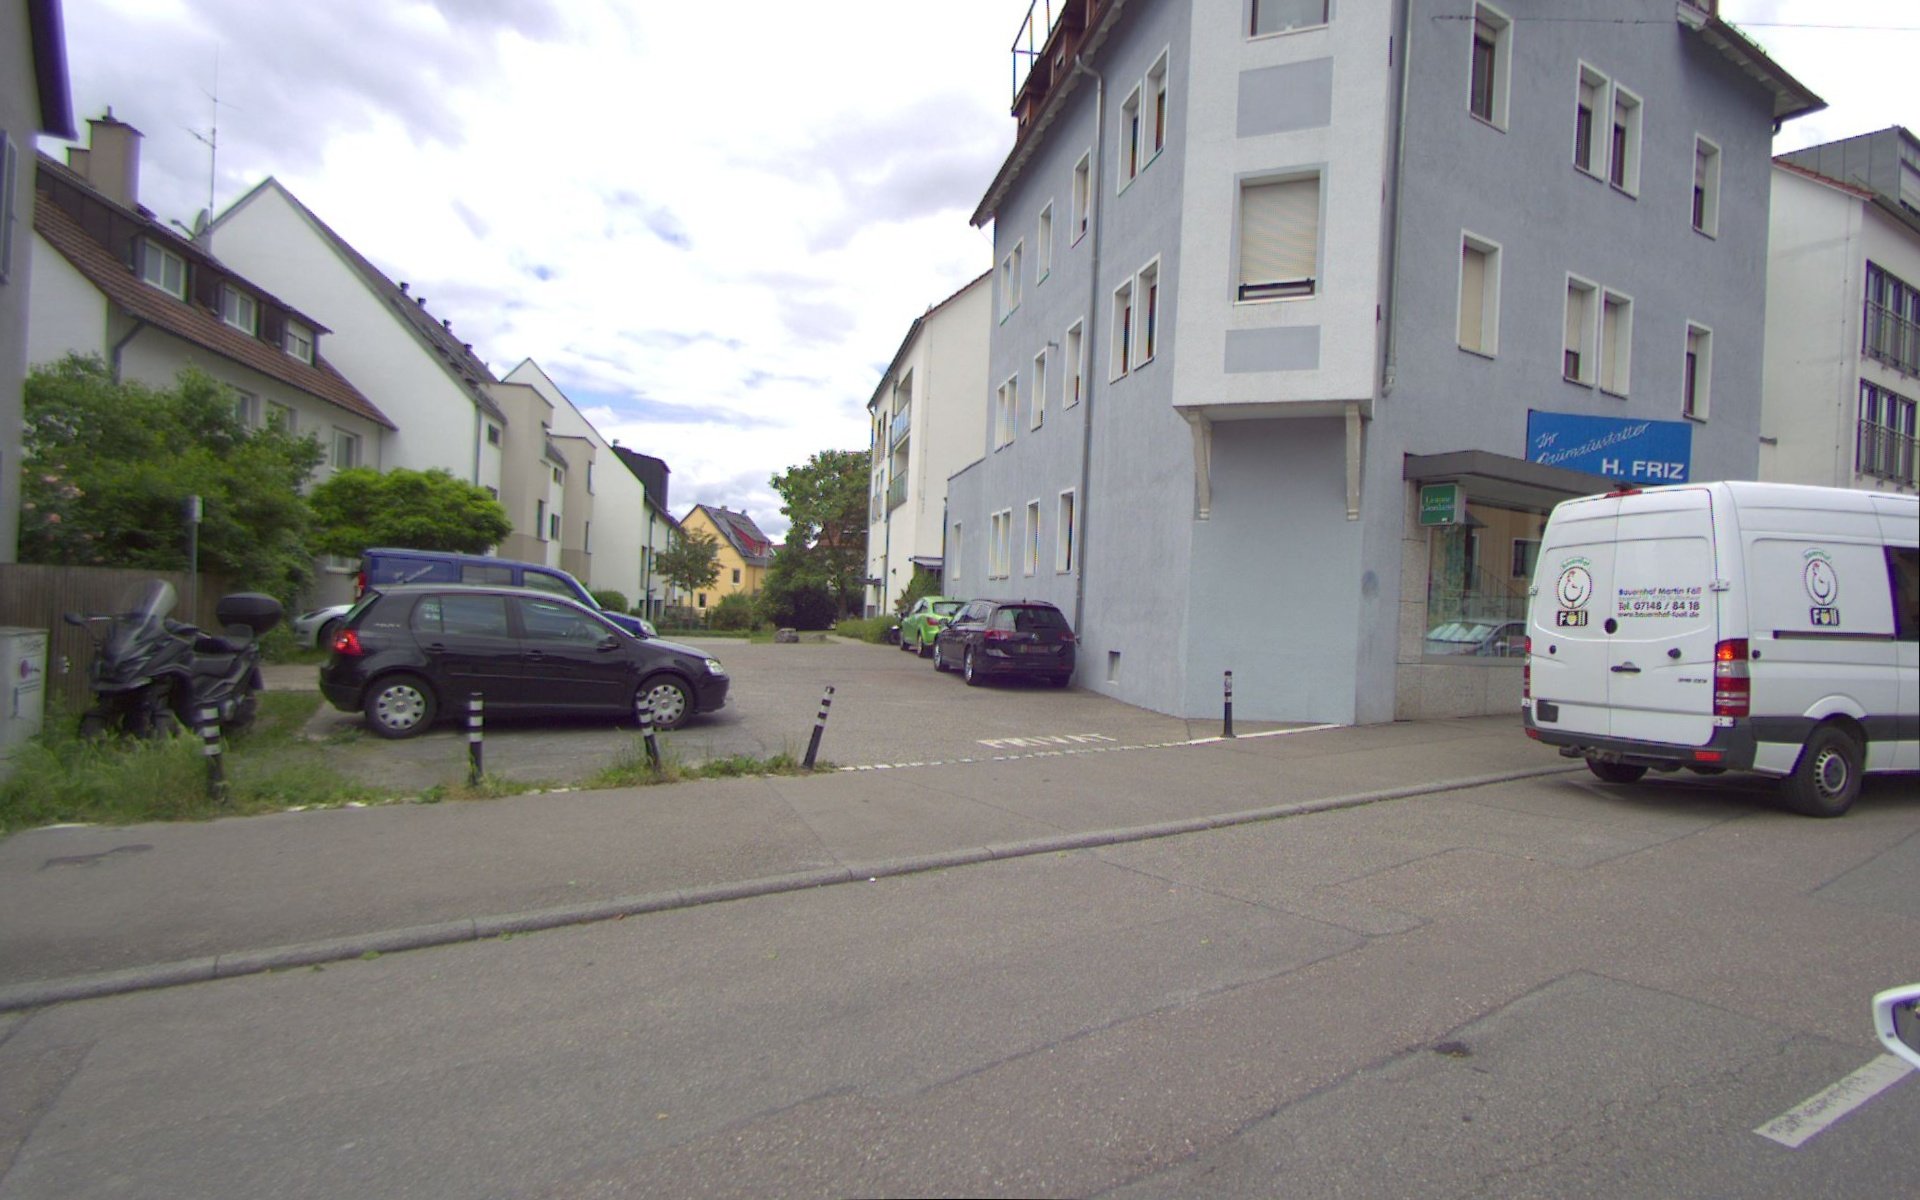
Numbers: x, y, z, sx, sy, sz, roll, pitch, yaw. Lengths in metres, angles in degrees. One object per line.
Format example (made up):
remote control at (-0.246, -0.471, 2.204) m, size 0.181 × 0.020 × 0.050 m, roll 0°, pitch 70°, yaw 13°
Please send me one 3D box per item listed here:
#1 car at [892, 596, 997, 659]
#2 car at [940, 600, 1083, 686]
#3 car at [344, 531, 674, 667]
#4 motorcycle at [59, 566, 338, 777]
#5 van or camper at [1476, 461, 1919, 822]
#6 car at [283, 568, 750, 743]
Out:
car at (-0.486, 0.657, 24.978) m, size 1.964 × 1.411 × 4.408 m, roll 1°, pitch -1°, yaw -9°
car at (0.803, 0.719, 18.152) m, size 1.692 × 1.370 × 3.992 m, roll 1°, pitch -1°, yaw -11°
car at (-7.100, 0.035, 16.135) m, size 4.561 × 1.934 × 1.829 m, roll 1°, pitch -1°, yaw -26°
motorcycle at (-6.317, 0.530, 8.605) m, size 0.823 × 1.493 × 2.826 m, roll 1°, pitch -1°, yaw -14°
van or camper at (8.177, 0.376, 9.393) m, size 6.109 × 2.642 × 2.318 m, roll 1°, pitch 0°, yaw -18°
car at (-4.757, 0.527, 11.119) m, size 4.363 × 1.573 × 1.984 m, roll 1°, pitch 2°, yaw -30°
